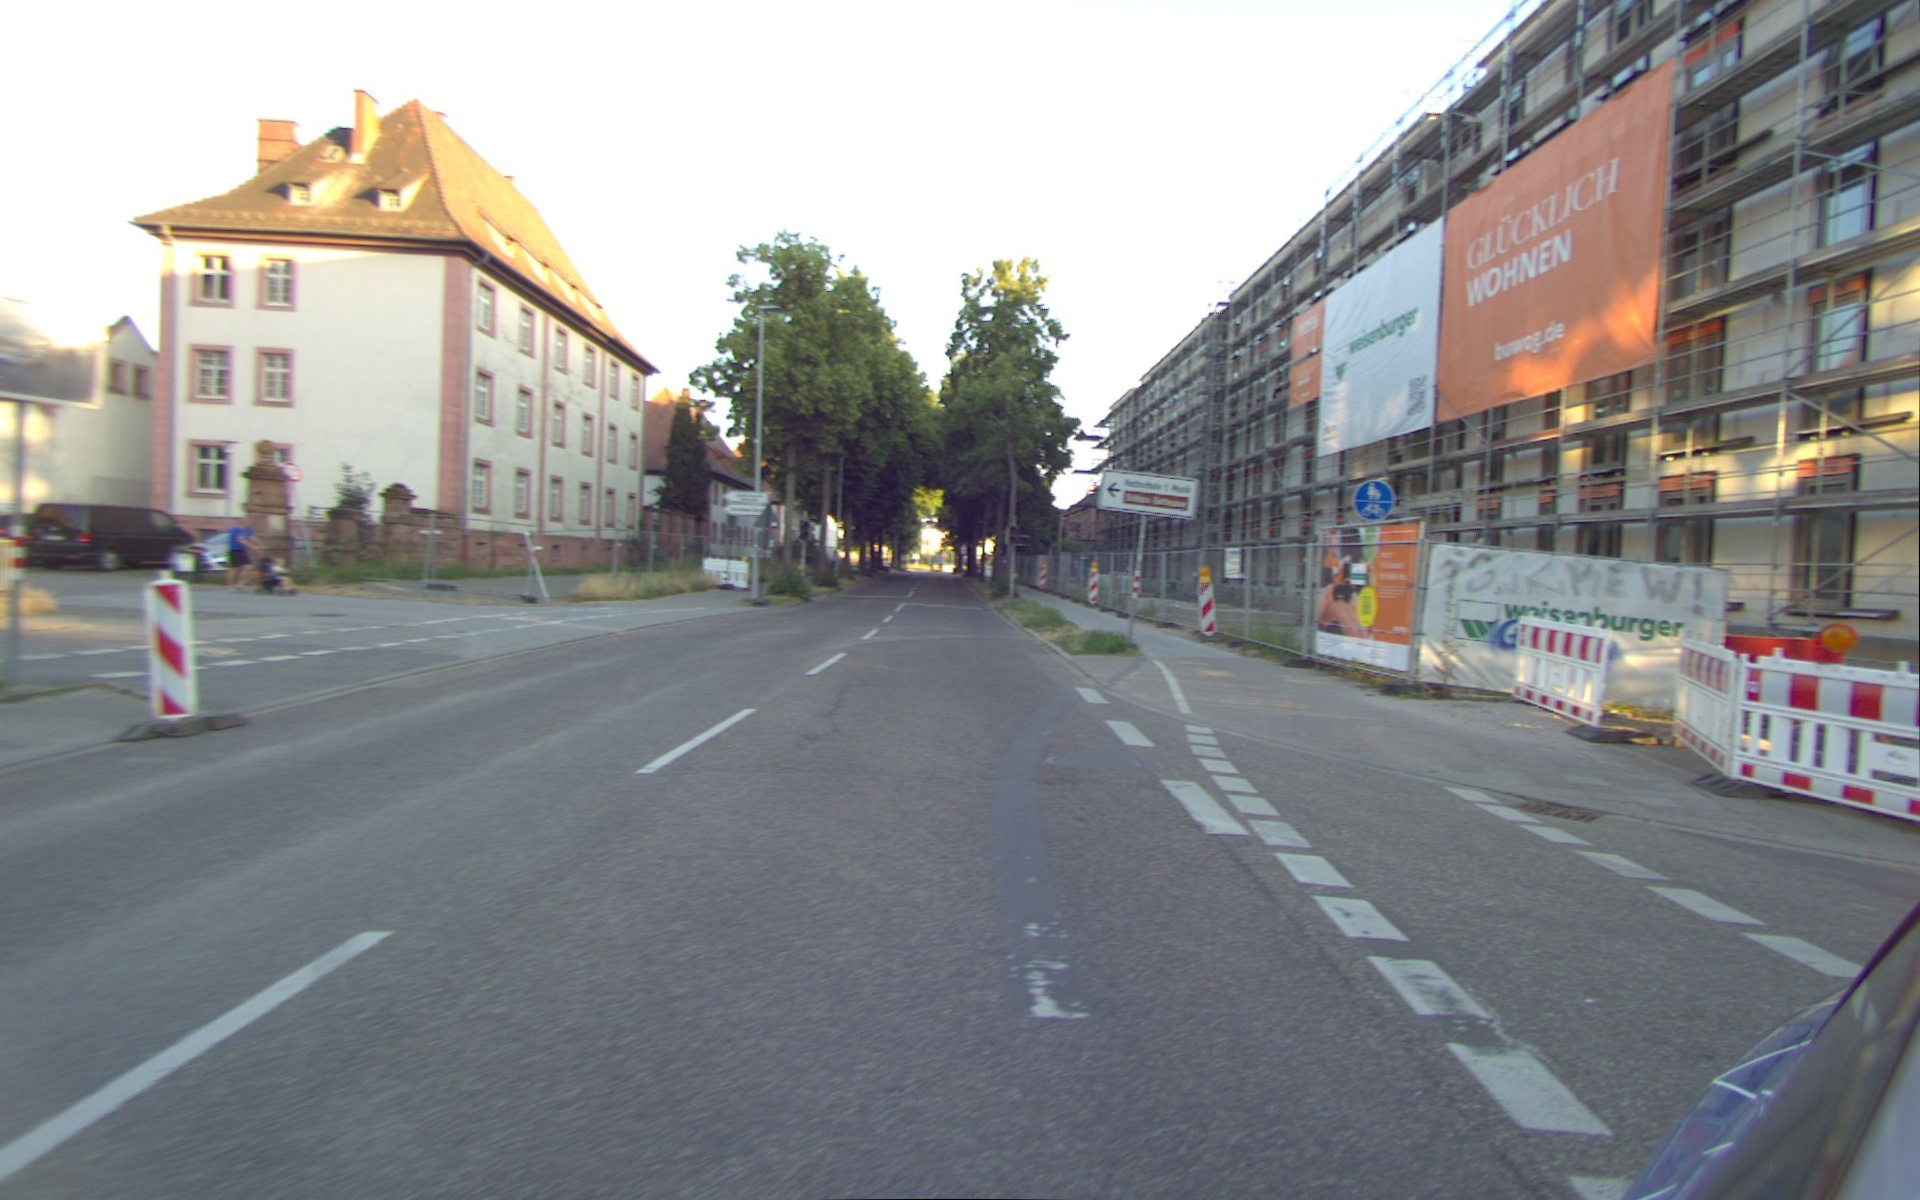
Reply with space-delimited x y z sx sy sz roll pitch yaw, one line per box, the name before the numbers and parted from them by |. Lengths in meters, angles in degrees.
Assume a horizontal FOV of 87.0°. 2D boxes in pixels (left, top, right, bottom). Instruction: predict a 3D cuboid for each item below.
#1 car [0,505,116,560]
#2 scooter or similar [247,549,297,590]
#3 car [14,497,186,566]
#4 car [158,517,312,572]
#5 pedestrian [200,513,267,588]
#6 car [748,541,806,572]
car | -28.655 -2.053 31.280 1.960 1.592 4.005 2 2 -4
scooter or similar | -15.905 -0.702 23.413 0.791 0.901 0.515 2 1 0
car | -25.848 -2.007 30.608 1.960 1.881 4.005 2 2 -4
car | -21.661 -1.636 30.450 1.960 1.477 4.005 2 2 -4
pedestrian | -16.802 -1.136 23.424 0.995 1.662 0.752 2 1 1
car | -13.190 -3.123 72.992 3.920 2.038 2.003 2 2 -5
